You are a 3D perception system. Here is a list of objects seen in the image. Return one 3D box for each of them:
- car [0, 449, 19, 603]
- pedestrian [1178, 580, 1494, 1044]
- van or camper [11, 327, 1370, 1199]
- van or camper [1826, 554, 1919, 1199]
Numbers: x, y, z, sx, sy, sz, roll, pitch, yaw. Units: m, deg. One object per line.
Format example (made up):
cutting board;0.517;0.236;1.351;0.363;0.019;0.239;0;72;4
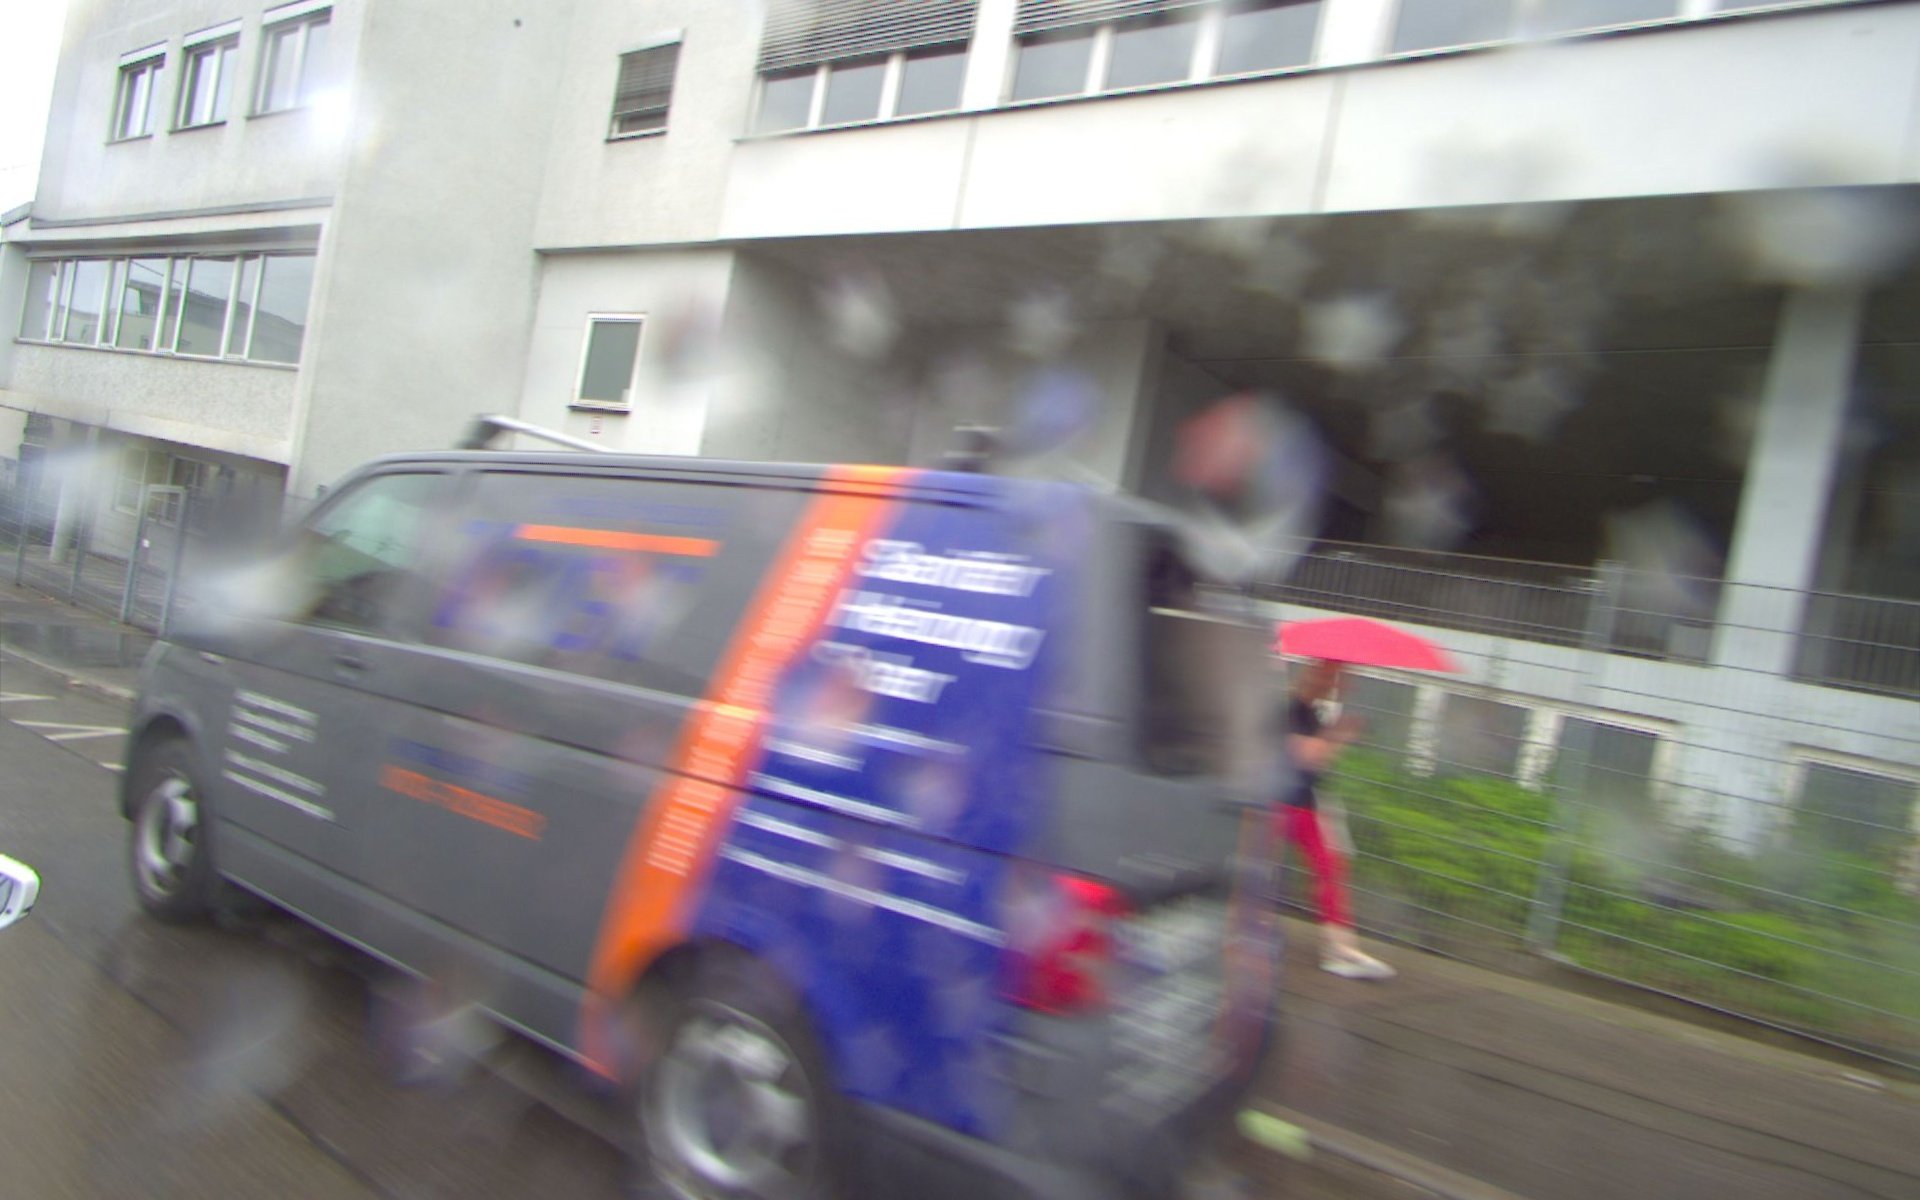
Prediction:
car;-12.309;-0.890;10.776;4.894;1.958;1.996;7;-1;33
pedestrian;1.807;0.893;4.766;1.013;1.781;1.025;9;2;30
van or camper;-1.404;0.382;3.939;5.116;2.139;1.996;8;0;32
van or camper;4.171;0.931;0.406;5.350;2.270;1.996;8;0;32
